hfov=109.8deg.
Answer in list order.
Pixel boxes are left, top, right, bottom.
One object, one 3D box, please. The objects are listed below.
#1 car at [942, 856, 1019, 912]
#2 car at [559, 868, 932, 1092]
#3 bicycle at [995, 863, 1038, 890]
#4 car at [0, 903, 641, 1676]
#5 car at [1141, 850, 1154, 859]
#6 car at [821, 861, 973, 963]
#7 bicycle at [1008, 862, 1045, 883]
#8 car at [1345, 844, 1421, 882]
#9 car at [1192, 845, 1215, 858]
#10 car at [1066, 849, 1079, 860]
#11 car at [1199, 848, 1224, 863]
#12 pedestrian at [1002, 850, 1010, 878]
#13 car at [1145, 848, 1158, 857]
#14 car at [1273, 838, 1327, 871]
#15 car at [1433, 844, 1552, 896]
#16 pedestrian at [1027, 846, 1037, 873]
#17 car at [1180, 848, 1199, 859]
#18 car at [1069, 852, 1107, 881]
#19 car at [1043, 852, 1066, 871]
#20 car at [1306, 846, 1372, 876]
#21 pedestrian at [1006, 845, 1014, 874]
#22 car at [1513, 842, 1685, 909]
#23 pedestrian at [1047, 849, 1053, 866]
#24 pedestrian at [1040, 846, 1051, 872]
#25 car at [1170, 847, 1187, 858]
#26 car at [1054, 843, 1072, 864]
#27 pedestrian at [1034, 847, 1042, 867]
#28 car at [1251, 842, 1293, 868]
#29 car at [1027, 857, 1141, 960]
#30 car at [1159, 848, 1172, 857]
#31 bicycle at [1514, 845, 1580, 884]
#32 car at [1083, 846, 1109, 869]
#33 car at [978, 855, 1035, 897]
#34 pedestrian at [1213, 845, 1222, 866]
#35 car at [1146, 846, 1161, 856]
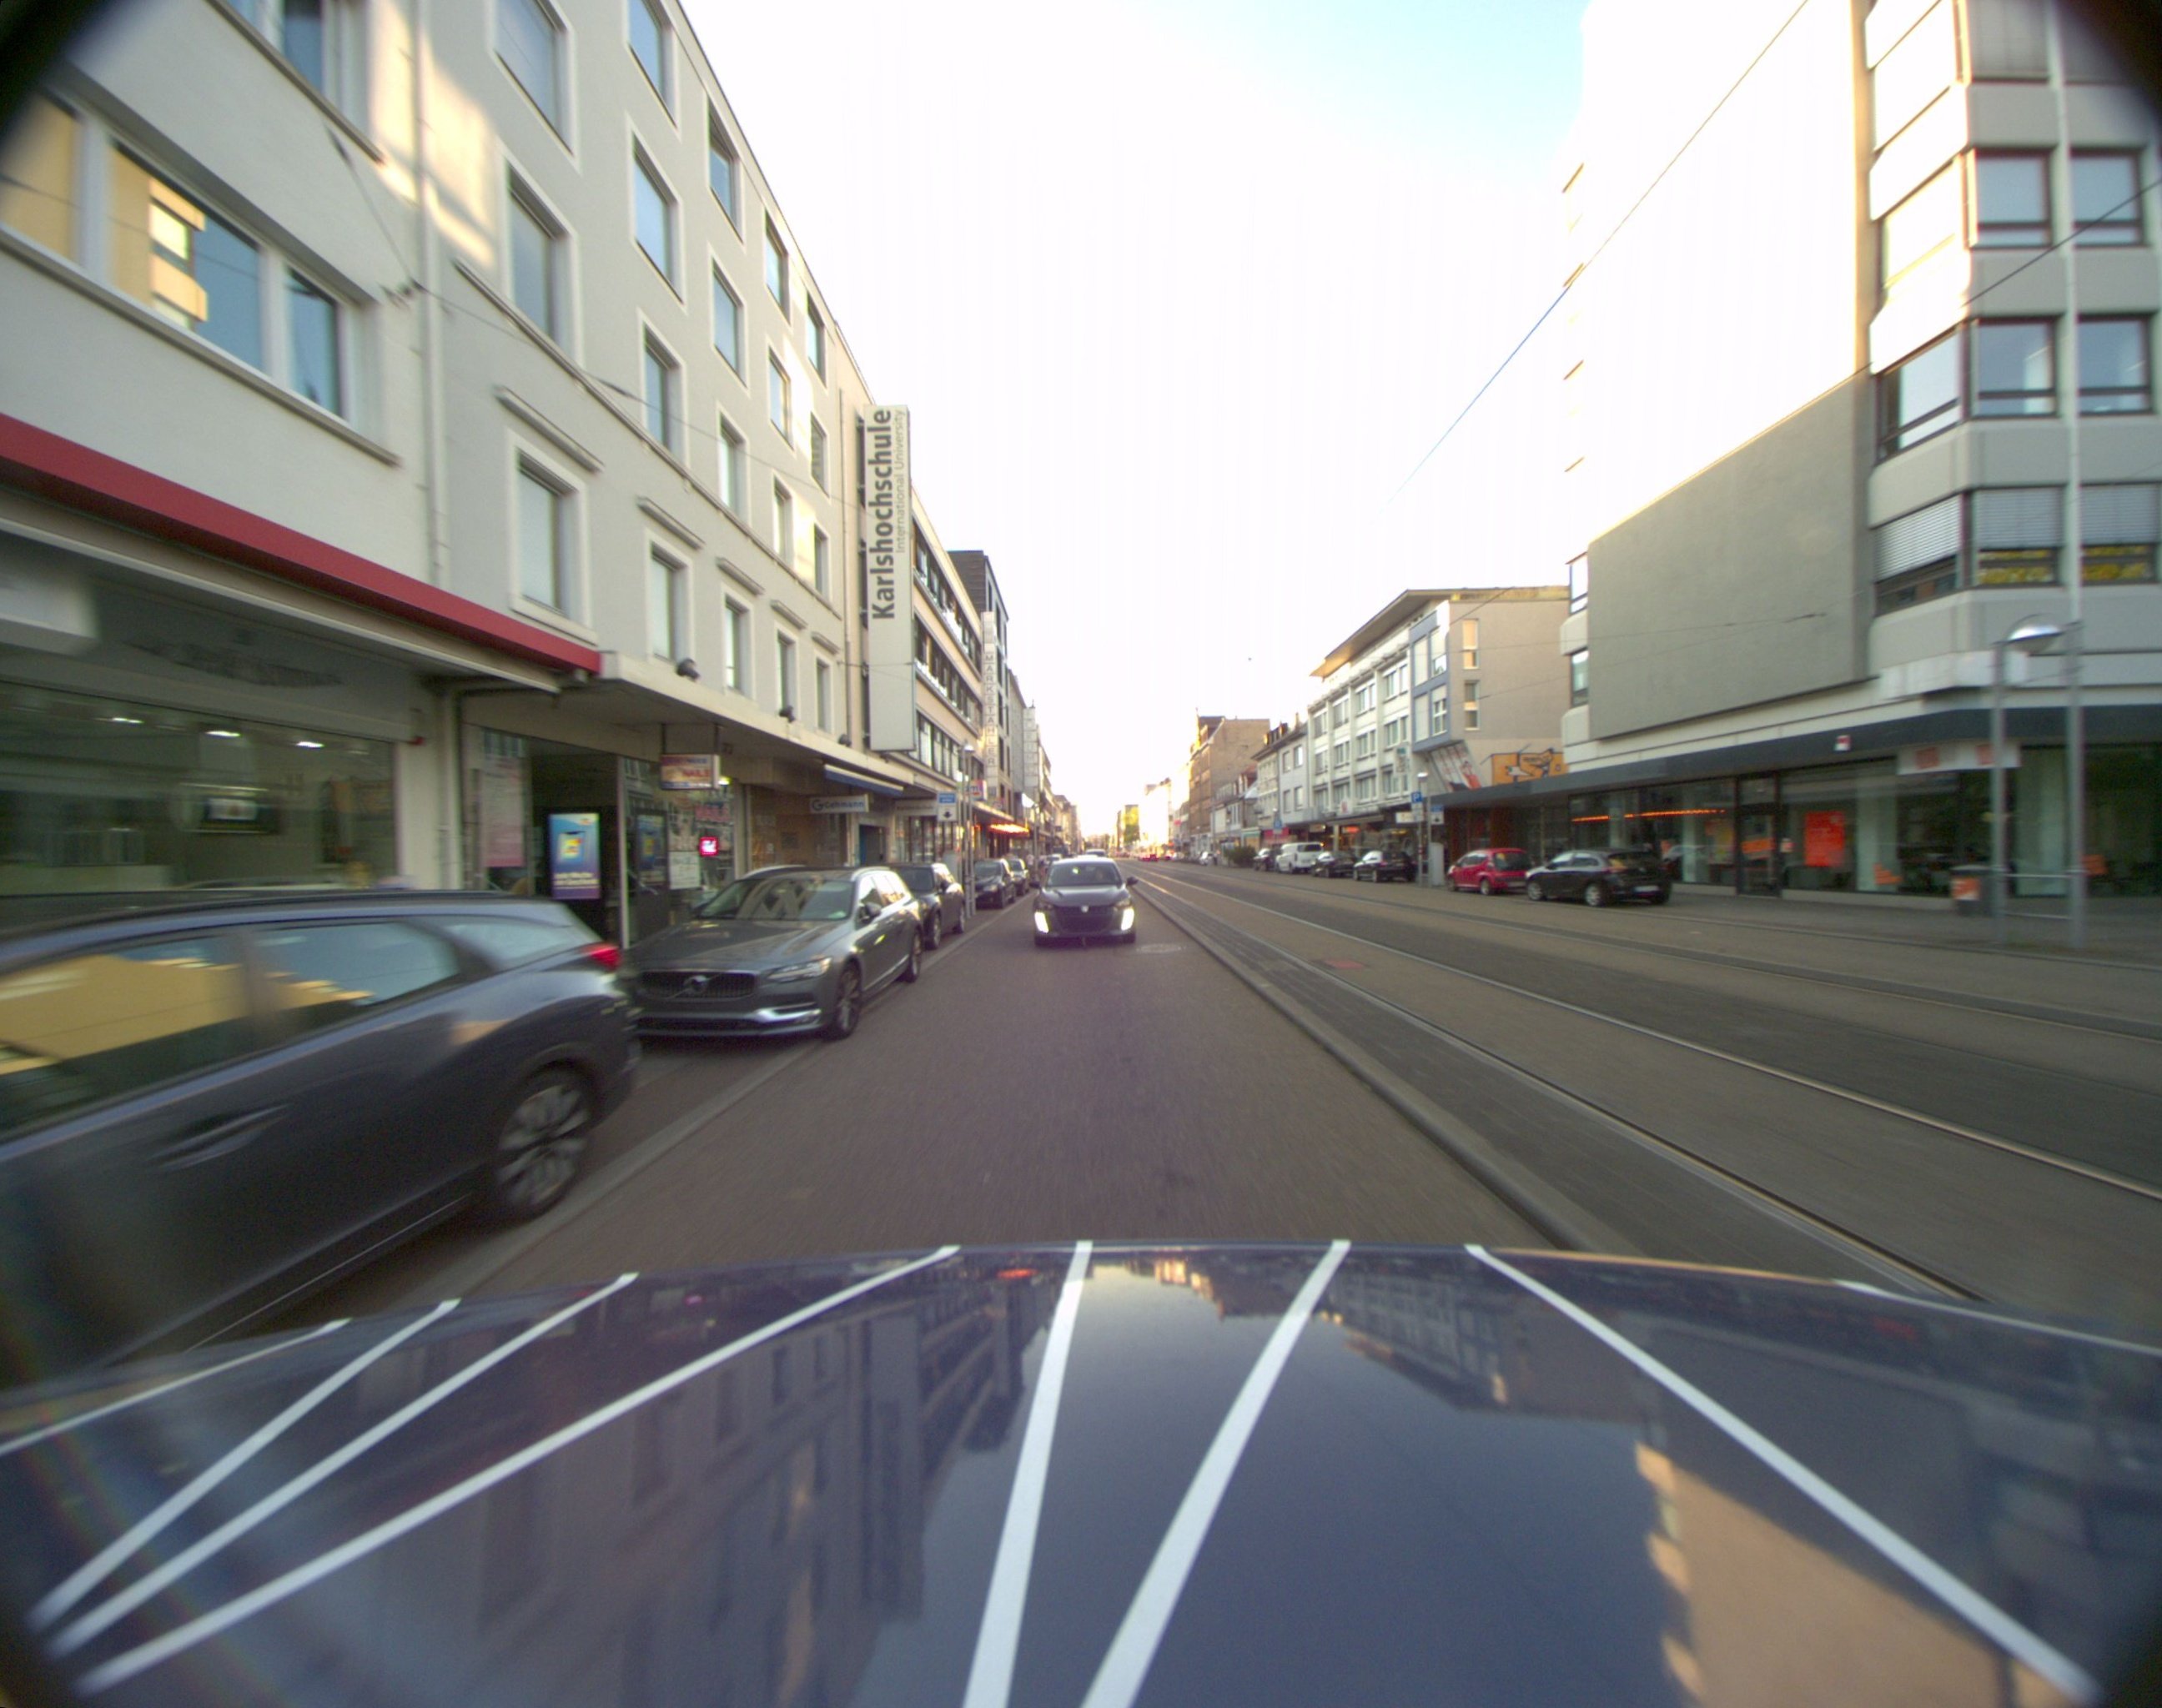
[{"bbox_3d":[-2.958,0.834,23.163,1.724,1.503,4.167,0,1,1],"label":"car"},{"bbox_3d":[-2.897,0.961,7.878,1.794,1.503,4.711,0,1,0],"label":"car"},{"bbox_3d":[-2.866,1.009,33.864,1.890,1.131,0.676,-1,1,-2],"label":"bicycle"},{"bbox_3d":[-3.206,1.027,1.810,1.739,1.503,4.303,0,1,1],"label":"car"},{"bbox_3d":[12.045,0.018,137.827,1.998,1.543,4.000,-1,0,1],"label":"car"},{"bbox_3d":[-3.149,0.916,13.821,1.690,1.503,4.035,0,1,1],"label":"car"},{"bbox_3d":[-2.823,0.970,39.670,1.890,1.071,0.676,1,1,-2],"label":"bicycle"},{"bbox_3d":[13.677,0.365,34.642,1.690,1.503,4.446,-3,1,1],"label":"car"},{"bbox_3d":[14.322,-0.289,88.916,1.914,1.535,4.552,-1,0,1],"label":"car"},{"bbox_3d":[-1.377,0.063,120.565,1.999,1.627,5.243,-1,0,0],"label":"car"},{"bbox_3d":[14.246,0.152,83.401,1.998,1.535,4.878,-2,0,1],"label":"car"},{"bbox_3d":[-5.083,0.658,51.762,0.452,1.888,0.421,-1,1,1],"label":"pedestrian"},{"bbox_3d":[12.117,-0.270,130.771,1.998,1.543,4.000,-1,0,1],"label":"car"},{"bbox_3d":[13.946,0.015,48.676,1.960,1.965,5.162,-1,0,0],"label":"car"},{"bbox_3d":[13.466,0.476,25.178,1.690,1.503,4.215,-3,0,1],"label":"car"},{"bbox_3d":[-3.231,0.375,50.232,0.610,1.743,0.605,-1,1,1],"label":"pedestrian"},{"bbox_3d":[14.855,-0.086,103.989,1.998,1.543,4.000,-1,0,1],"label":"car"},{"bbox_3d":[0.402,0.644,42.170,1.998,1.450,3.999,-1,1,0],"label":"car"},{"bbox_3d":[-2.191,0.575,63.222,1.682,1.534,3.886,0,1,2],"label":"car"},{"bbox_3d":[13.892,0.330,41.193,1.998,1.457,4.558,-2,0,0],"label":"car"},{"bbox_3d":[-4.678,0.360,50.285,0.456,1.888,0.421,-1,1,1],"label":"pedestrian"},{"bbox_3d":[13.391,0.495,19.980,1.690,1.503,4.215,-2,0,1],"label":"car"},{"bbox_3d":[-3.130,0.342,76.741,0.610,1.743,0.605,-1,1,1],"label":"pedestrian"},{"bbox_3d":[-2.368,0.326,50.709,0.605,1.717,0.646,-1,1,1],"label":"pedestrian"},{"bbox_3d":[14.800,-0.251,115.468,1.998,1.543,4.206,-1,0,1],"label":"car"},{"bbox_3d":[-2.167,-0.115,91.106,2.046,2.371,5.584,-1,0,0],"label":"car"},{"bbox_3d":[-4.498,0.307,80.045,0.711,2.002,0.824,-1,1,0],"label":"pedestrian"},{"bbox_3d":[14.062,0.045,56.093,1.862,1.711,4.527,-3,0,0],"label":"car"},{"bbox_3d":[0.039,0.874,14.162,1.732,1.513,4.333,-2,0,0],"label":"car"},{"bbox_3d":[15.307,-0.241,137.420,1.998,1.543,4.000,-1,0,1],"label":"car"},{"bbox_3d":[17.526,0.379,28.601,1.973,1.417,0.834,-1,1,-1],"label":"bicycle"},{"bbox_3d":[1.188,0.268,61.450,1.999,1.805,3.999,-1,1,-1],"label":"car"},{"bbox_3d":[-2.886,0.812,30.167,1.748,1.503,4.257,0,1,1],"label":"car"},{"bbox_3d":[13.650,0.140,76.094,0.823,2.002,0.713,-1,1,16],"label":"pedestrian"},{"bbox_3d":[11.616,-0.530,121.545,1.998,1.543,3.999,1,1,1],"label":"car"}]
